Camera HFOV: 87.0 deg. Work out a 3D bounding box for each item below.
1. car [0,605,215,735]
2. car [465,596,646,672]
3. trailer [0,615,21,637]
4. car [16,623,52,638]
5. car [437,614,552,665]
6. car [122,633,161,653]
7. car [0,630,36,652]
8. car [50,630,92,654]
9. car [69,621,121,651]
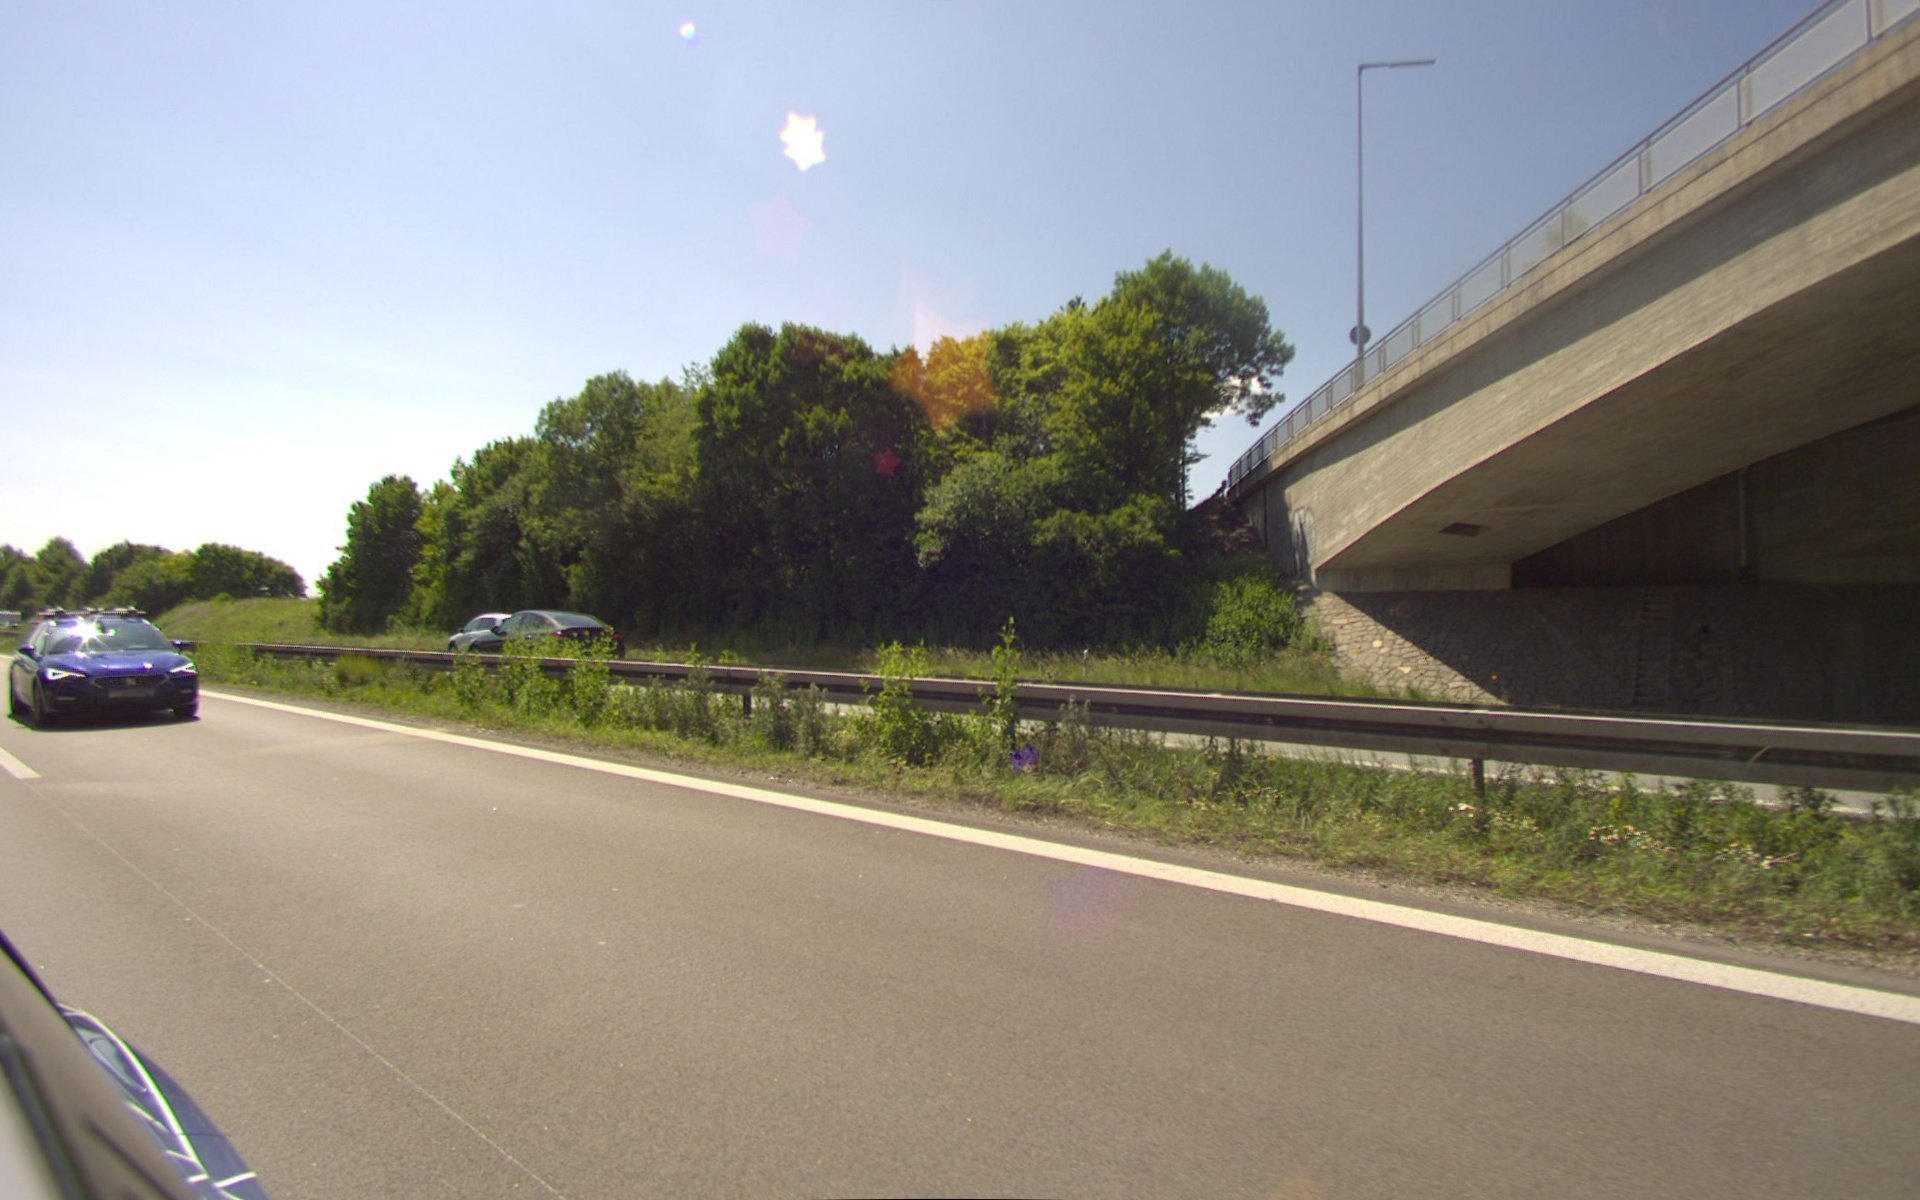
[{"bbox_3d":[-12.668,0.927,14.876,4.238,1.638,1.880,-1,-1,41],"label":"car"},{"bbox_3d":[-9.210,0.752,22.868,4.748,1.539,1.840,-1,-2,41],"label":"car"},{"bbox_3d":[-124.439,3.367,131.335,8.624,2.708,2.704,-1,-2,40],"label":"trailer"},{"bbox_3d":[-89.447,2.938,97.750,4.656,1.407,1.973,0,-1,40],"label":"car"},{"bbox_3d":[-15.211,1.260,32.996,4.212,1.539,1.840,-1,-2,41],"label":"car"},{"bbox_3d":[-66.846,3.535,82.656,4.127,1.566,1.777,-2,-4,42],"label":"car"},{"bbox_3d":[-74.333,3.199,79.527,5.086,1.617,1.973,-1,-2,41],"label":"car"},{"bbox_3d":[-73.821,3.474,83.993,4.693,1.818,1.973,0,-1,41],"label":"car"},{"bbox_3d":[-50.573,2.071,59.140,4.127,1.679,1.777,-2,-2,42],"label":"car"}]
